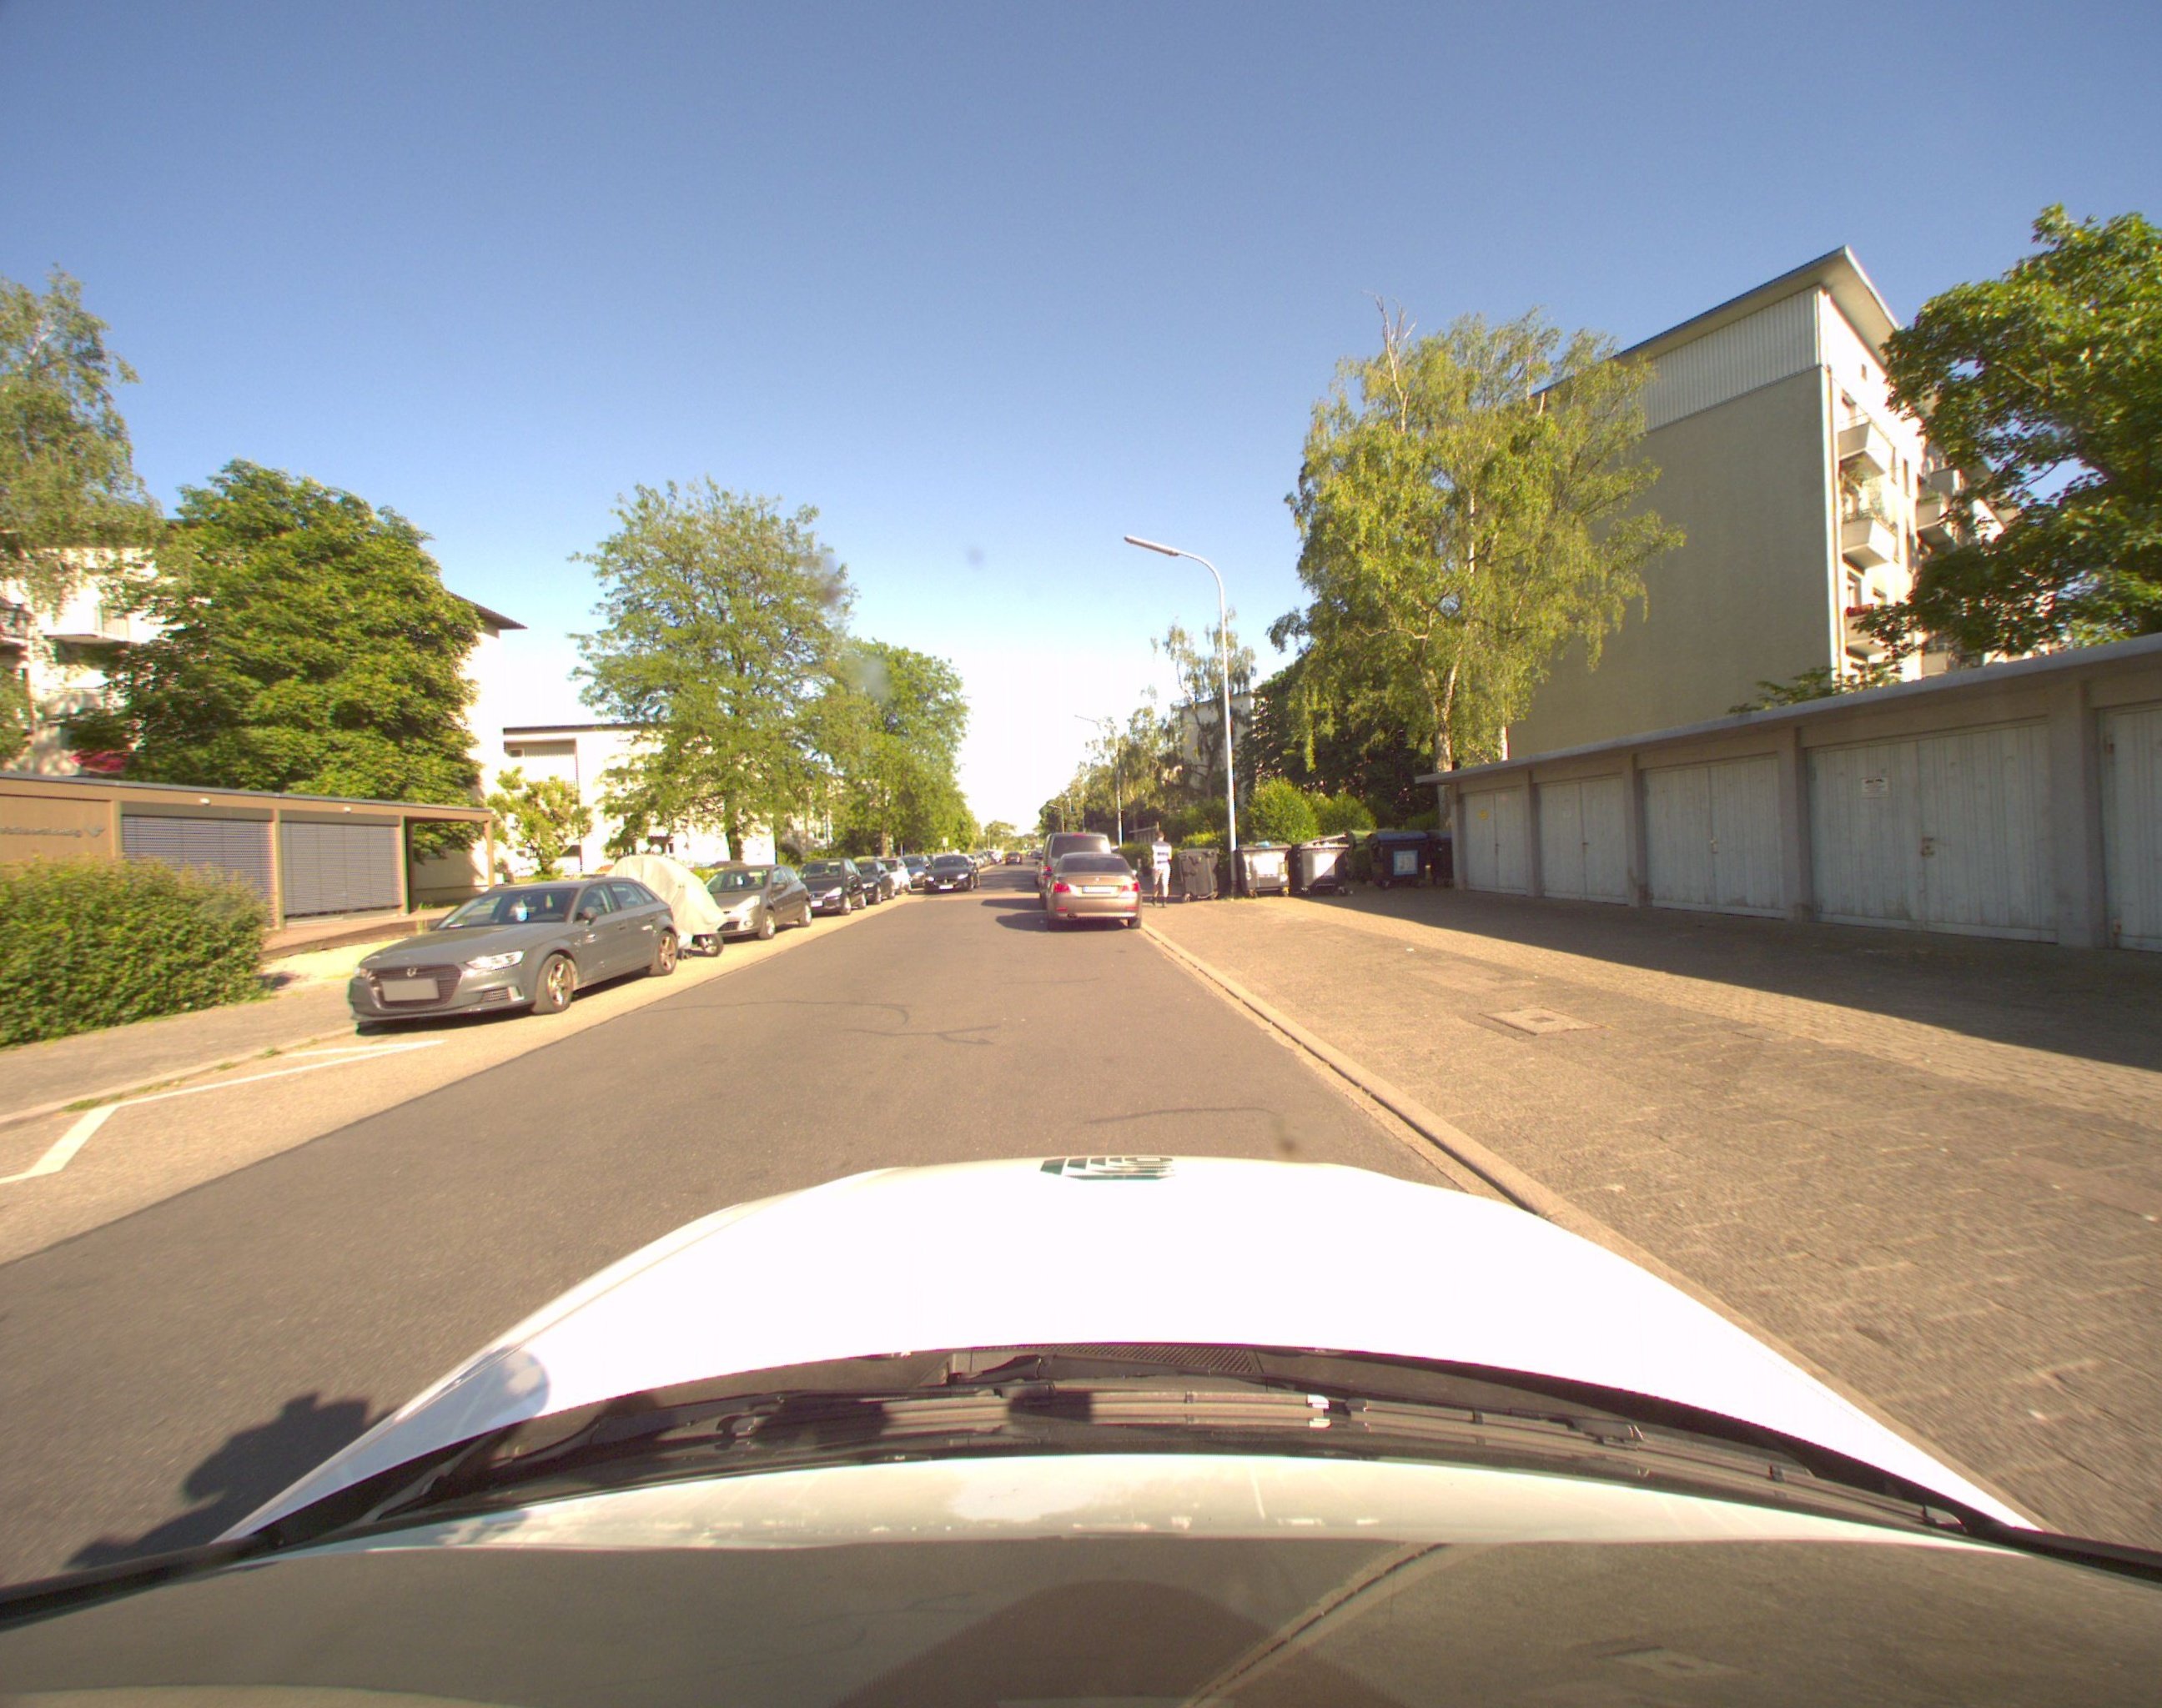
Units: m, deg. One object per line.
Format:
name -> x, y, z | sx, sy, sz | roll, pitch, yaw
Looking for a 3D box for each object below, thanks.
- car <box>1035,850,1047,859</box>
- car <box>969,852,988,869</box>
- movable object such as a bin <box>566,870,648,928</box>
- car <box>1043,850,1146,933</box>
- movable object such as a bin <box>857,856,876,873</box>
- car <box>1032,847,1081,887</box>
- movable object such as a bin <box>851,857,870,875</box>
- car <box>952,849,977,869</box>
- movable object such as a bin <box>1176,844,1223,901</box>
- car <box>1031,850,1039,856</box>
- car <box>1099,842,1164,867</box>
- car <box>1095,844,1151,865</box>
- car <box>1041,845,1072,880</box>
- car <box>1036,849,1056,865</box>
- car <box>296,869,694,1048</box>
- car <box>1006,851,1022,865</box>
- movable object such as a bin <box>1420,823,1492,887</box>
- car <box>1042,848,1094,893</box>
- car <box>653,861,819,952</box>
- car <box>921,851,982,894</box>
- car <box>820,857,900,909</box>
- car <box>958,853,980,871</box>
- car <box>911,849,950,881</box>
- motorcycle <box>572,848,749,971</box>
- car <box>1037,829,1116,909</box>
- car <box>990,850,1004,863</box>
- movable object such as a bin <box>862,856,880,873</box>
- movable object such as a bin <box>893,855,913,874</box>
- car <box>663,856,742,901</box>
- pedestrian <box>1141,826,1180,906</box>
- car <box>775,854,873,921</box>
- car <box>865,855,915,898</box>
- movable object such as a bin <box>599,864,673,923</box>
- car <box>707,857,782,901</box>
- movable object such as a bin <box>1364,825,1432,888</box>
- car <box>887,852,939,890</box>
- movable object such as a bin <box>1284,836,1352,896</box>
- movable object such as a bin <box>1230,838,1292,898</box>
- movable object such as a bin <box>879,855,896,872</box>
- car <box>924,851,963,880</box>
car -> -7.038, 0.033, 142.421 | 1.793, 1.561, 3.944 | -2, 0, -6
car -> -10.498, 0.619, 83.770 | 1.707, 1.600, 3.979 | -5, 1, -5
movable object such as a bin -> -11.499, 1.075, 19.812 | 1.175, 1.288, 1.342 | -2, 0, -3
car -> 0.174, 0.647, 16.784 | 1.796, 1.418, 4.632 | -2, 0, -2
movable object such as a bin -> -17.870, 0.868, 67.824 | 1.174, 1.420, 1.461 | 0, 0, -2
car -> -1.113, 0.509, 34.837 | 1.729, 1.489, 4.492 | -4, 1, -6
movable object such as a bin -> -17.810, 0.970, 65.811 | 1.174, 1.420, 1.461 | 0, 0, -2
car -> -9.597, 0.387, 67.349 | 1.683, 1.535, 3.885 | -4, 0, -4
movable object such as a bin -> 3.014, 0.453, 20.867 | 1.021, 1.310, 1.389 | -6, 0, 7
car -> -11.095, -0.275, 197.493 | 1.793, 1.548, 3.944 | -2, 0, -6
car -> 3.661, 0.025, 59.618 | 4.503, 1.513, 1.827 | -4, 0, -3
car -> 3.445, 0.022, 67.819 | 4.406, 1.513, 1.827 | -4, 0, -4
car -> -1.283, 0.410, 41.901 | 1.486, 1.718, 2.579 | -1, 0, -4
car -> -3.513, 0.287, 80.393 | 1.751, 1.513, 4.096 | -1, 0, -6
car -> -6.476, 1.012, 9.747 | 1.751, 1.420, 4.264 | -5, 1, -3
car -> -7.414, 0.447, 89.348 | 1.677, 1.513, 4.096 | -1, 0, -6
movable object such as a bin -> 9.395, 0.013, 20.462 | 1.272, 1.465, 1.133 | -3, 4, 0
car -> -0.513, 0.535, 29.195 | 1.620, 1.490, 4.030 | -1, 0, -4
car -> -6.973, 0.979, 16.945 | 1.750, 1.480, 3.956 | -5, 1, -2
car -> -5.144, 0.679, 32.885 | 1.907, 1.476, 4.564 | -3, 1, -4
car -> -7.532, 0.929, 28.218 | 1.751, 1.480, 4.530 | -5, 1, -5
car -> -9.978, 0.720, 72.992 | 1.684, 1.505, 3.811 | -3, 0, -5
car -> -8.293, 0.587, 45.113 | 1.633, 1.606, 3.529 | -4, 0, -4
motorcycle -> -6.815, 0.870, 13.328 | 2.254, 1.726, 0.930 | -5, 0, -7
car -> -0.233, 0.354, 22.306 | 1.849, 1.934, 4.698 | -1, 0, -4
car -> -12.284, 0.292, 118.840 | 1.743, 1.732, 4.000 | -4, 0, -3
movable object such as a bin -> -17.892, 0.869, 69.345 | 1.174, 1.420, 1.461 | 0, 0, -2
movable object such as a bin -> -12.839, 0.750, 58.834 | 1.133, 1.382, 1.440 | 0, 0, -2
car -> -15.113, 0.933, 32.692 | 1.568, 1.641, 3.993 | -2, 0, -5
pedestrian -> 1.964, 0.293, 20.154 | 0.701, 1.888, 0.871 | -5, 0, -3
car -> -7.171, 0.868, 23.091 | 1.751, 1.574, 3.714 | -5, 1, -5
car -> -7.980, 0.900, 34.190 | 1.442, 1.574, 3.137 | -5, 1, -4
movable object such as a bin -> -11.573, 1.001, 21.223 | 1.175, 1.408, 1.342 | -2, 0, -3
car -> -13.115, 0.931, 31.943 | 1.568, 1.525, 3.993 | -2, 0, -5
movable object such as a bin -> 8.064, 0.039, 20.785 | 1.272, 1.465, 1.133 | -3, 4, 0
car -> -8.098, 0.776, 39.653 | 1.750, 1.606, 3.965 | -5, 1, -3
movable object such as a bin -> 5.703, 0.278, 19.684 | 1.272, 1.365, 1.133 | -3, 0, 0
movable object such as a bin -> 4.399, 0.335, 19.984 | 1.220, 1.365, 1.133 | -3, 0, 0
movable object such as a bin -> -16.639, 0.831, 70.013 | 1.131, 1.420, 1.360 | 0, 0, -2
car -> -8.709, 0.693, 51.852 | 1.899, 1.639, 4.343 | -4, 0, -4
